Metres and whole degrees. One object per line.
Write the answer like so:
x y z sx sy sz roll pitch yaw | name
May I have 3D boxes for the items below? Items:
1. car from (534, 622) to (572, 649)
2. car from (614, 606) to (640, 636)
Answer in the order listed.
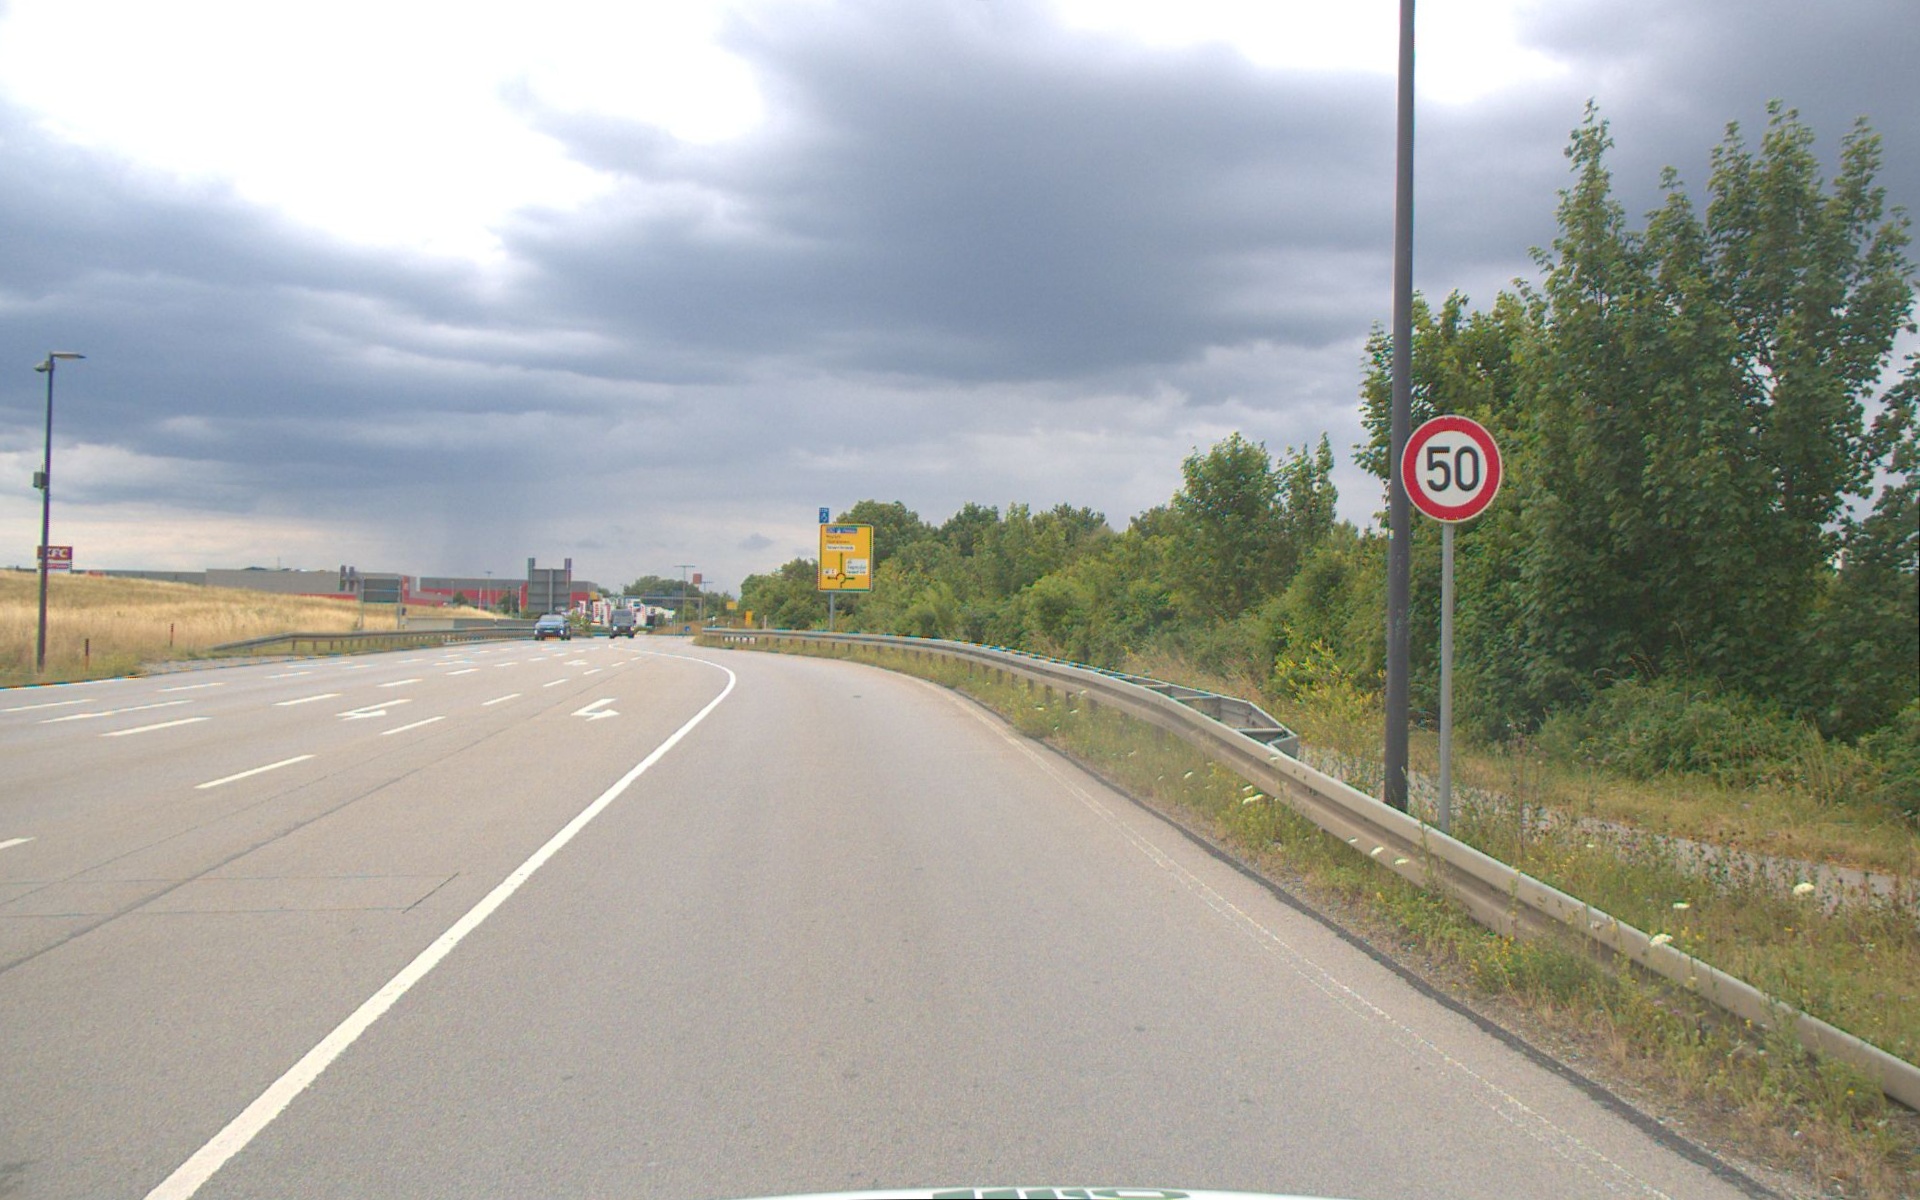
-24.160 2.106 98.332 1.764 1.578 3.992 0 -1 -8 | car
-30.029 1.930 149.259 1.956 2.638 5.992 0 -1 -8 | car
